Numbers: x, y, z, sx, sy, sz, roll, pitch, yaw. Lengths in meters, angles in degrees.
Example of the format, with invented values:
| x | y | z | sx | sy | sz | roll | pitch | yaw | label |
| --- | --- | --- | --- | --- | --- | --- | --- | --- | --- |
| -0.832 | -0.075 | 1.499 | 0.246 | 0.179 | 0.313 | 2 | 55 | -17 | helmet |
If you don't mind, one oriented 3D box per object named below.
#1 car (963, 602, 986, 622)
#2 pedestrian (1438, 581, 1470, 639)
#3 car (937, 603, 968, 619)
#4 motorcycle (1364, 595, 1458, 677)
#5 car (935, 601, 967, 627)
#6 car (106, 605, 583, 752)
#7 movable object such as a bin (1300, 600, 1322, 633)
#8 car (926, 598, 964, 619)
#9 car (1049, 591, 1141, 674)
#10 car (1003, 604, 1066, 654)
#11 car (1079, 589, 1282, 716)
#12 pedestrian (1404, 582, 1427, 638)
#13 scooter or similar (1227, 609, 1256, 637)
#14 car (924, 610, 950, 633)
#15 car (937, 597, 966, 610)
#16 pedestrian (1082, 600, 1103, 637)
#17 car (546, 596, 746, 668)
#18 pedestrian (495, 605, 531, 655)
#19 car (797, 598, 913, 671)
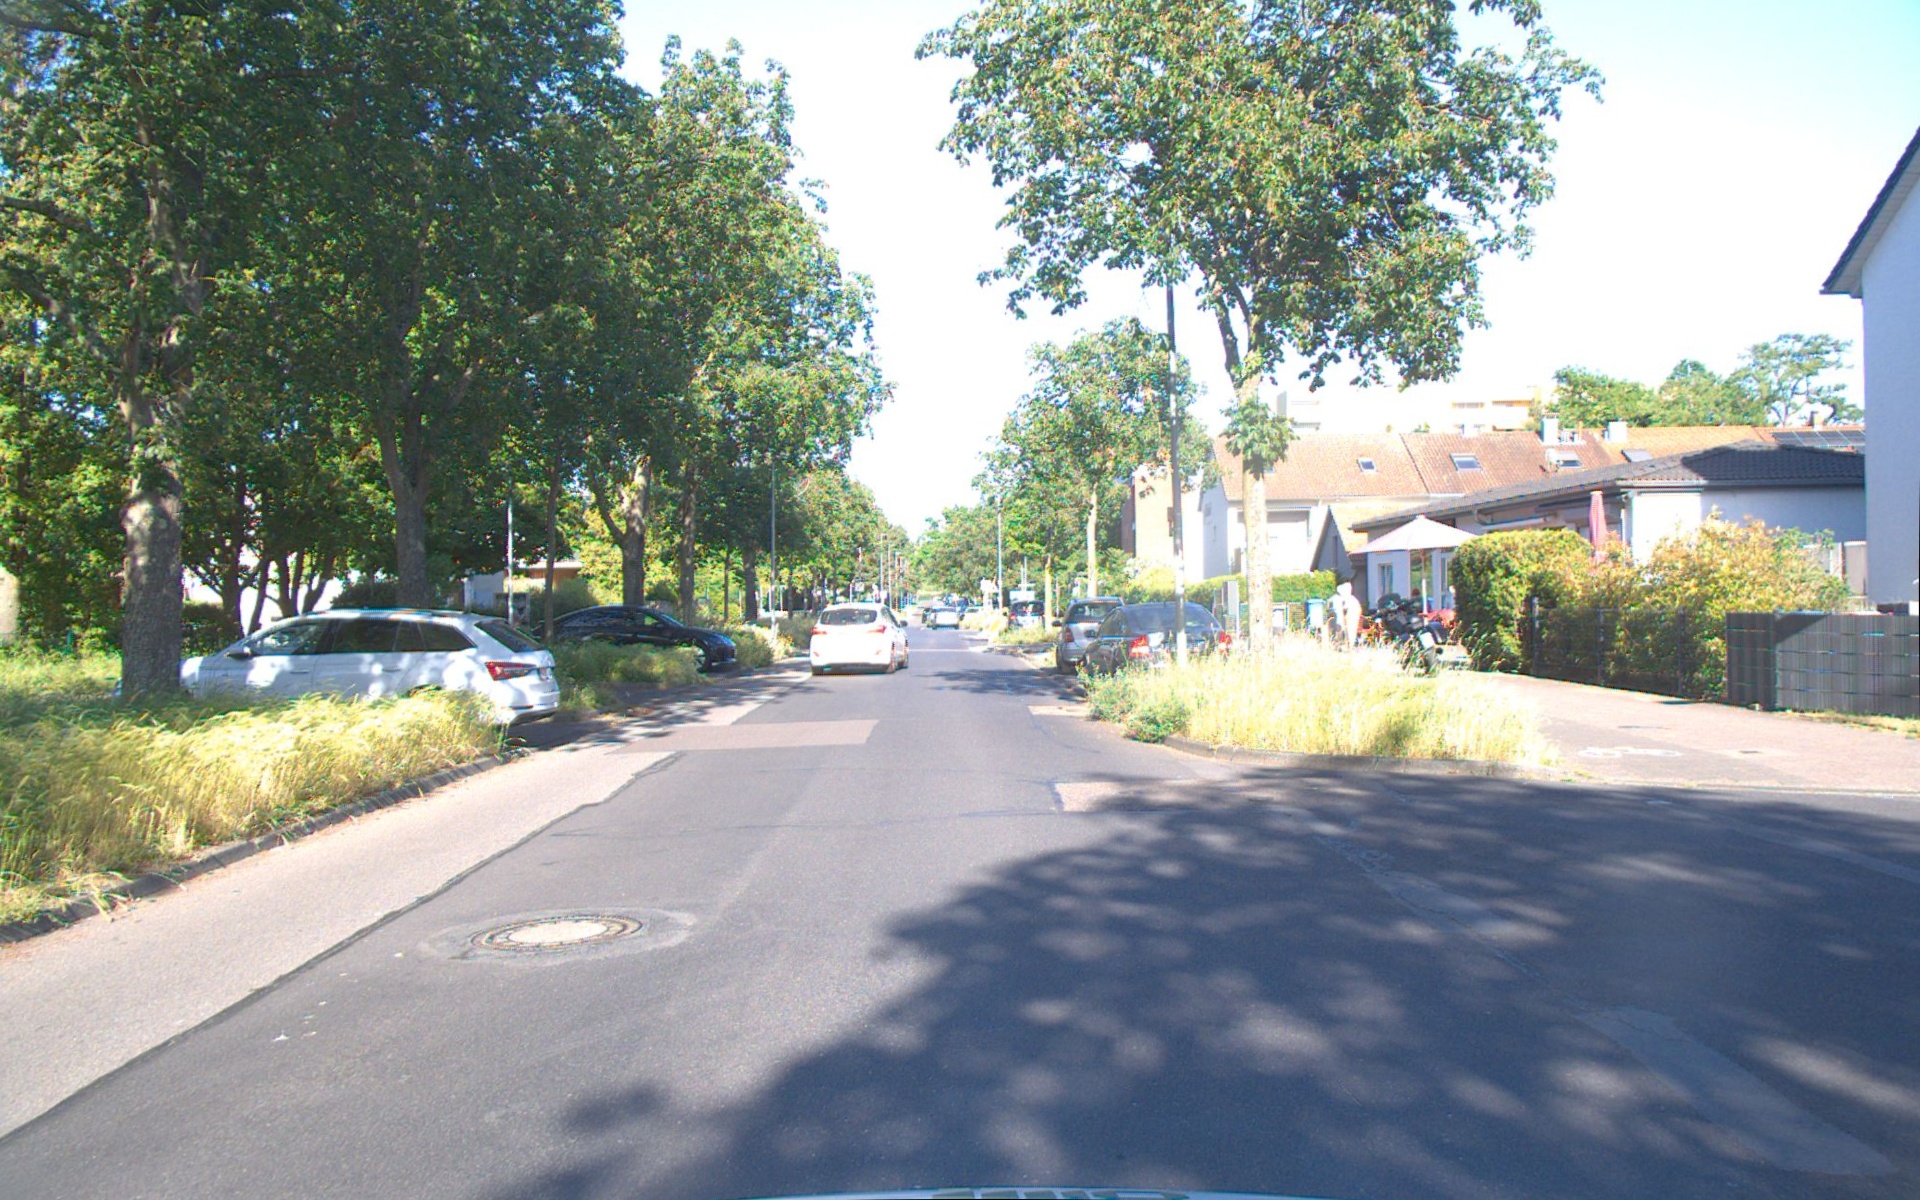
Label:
| x | y | z | sx | sy | sz | roll | pitch | yaw | label |
| --- | --- | --- | --- | --- | --- | --- | --- | --- | --- |
| 1.149 | 0.948 | 130.137 | 1.698 | 1.534 | 3.657 | 2 | -1 | -1 | car |
| 12.606 | 0.254 | 42.191 | 0.649 | 1.433 | 0.492 | -3 | -1 | 28 | pedestrian |
| -0.968 | 1.390 | 213.884 | 3.907 | 2.049 | 1.999 | 0 | 0 | -2 | car |
| 7.326 | 0.562 | 26.964 | 0.801 | 1.248 | 2.351 | -2 | 0 | -1 | motorcycle |
| -0.598 | 0.893 | 106.496 | 1.953 | 1.534 | 3.657 | 2 | -1 | -1 | car |
| -6.734 | 0.835 | 18.479 | 4.575 | 1.530 | 2.000 | 0 | 0 | 0 | car |
| 11.440 | 0.527 | 53.886 | 0.483 | 1.049 | 0.747 | -3 | 0 | -2 | movable object such as a bin |
| -1.590 | 0.896 | 172.026 | 3.907 | 2.049 | 1.999 | 0 | -2 | -2 | car |
| 2.934 | 0.689 | 36.599 | 1.577 | 1.650 | 4.381 | 2 | -1 | -1 | car |
| 2.830 | 1.107 | 63.546 | 1.954 | 1.758 | 3.997 | -2 | -1 | -3 | car |
| 3.179 | 0.727 | 24.778 | 1.956 | 1.650 | 4.375 | 2 | -1 | -7 | car |
| 11.587 | 0.248 | 42.066 | 0.430 | 1.409 | 0.639 | 1 | -1 | 4 | pedestrian |
| 8.842 | 0.718 | 51.896 | 0.361 | 0.873 | 1.407 | 0 | 0 | -14 | scooter or similar |
| -1.691 | 1.551 | 120.291 | 1.780 | 1.534 | 3.657 | 2 | -1 | -1 | car |
| -1.160 | 0.438 | 224.161 | 3.908 | 1.780 | 1.999 | 0 | 0 | -4 | car |
| 7.364 | 1.028 | 92.146 | 1.090 | 2.049 | 0.921 | 0 | 0 | -1 | pedestrian |
| -7.185 | 0.727 | 38.168 | 4.279 | 1.558 | 1.807 | 1 | -1 | -2 | car |
| -16.734 | 1.120 | 61.940 | 1.206 | 1.859 | 1.543 | 1 | -1 | -18 | pedestrian |
| -2.227 | 0.707 | 36.234 | 1.951 | 1.480 | 4.227 | 0 | 0 | 5 | car |
